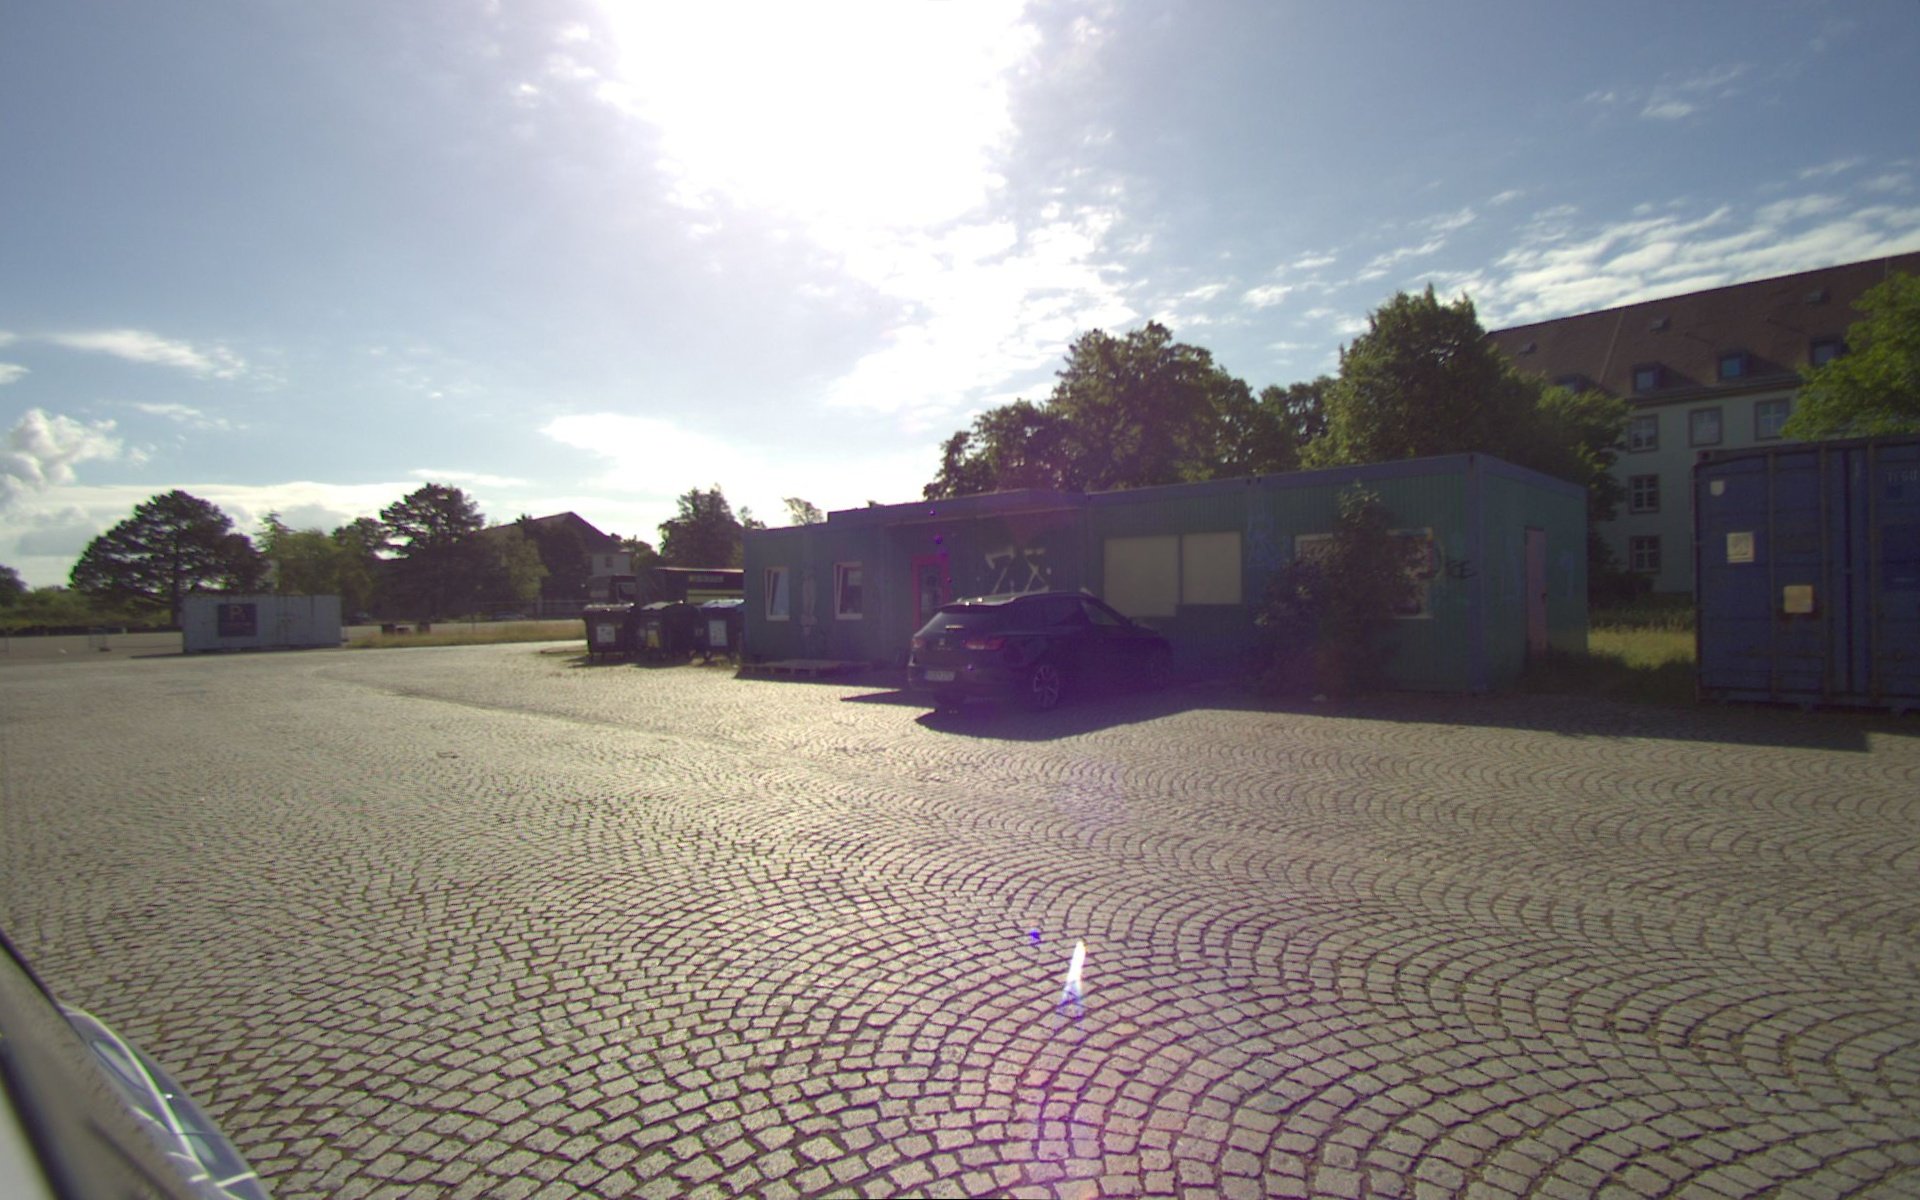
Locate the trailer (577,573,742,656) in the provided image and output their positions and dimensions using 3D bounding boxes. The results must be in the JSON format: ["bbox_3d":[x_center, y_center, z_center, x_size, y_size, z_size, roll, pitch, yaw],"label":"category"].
[{"bbox_3d":[-9.209,0.394,31.268,4.402,2.290,2.015,-3,1,-45],"label":"trailer"}]

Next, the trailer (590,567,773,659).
[{"bbox_3d":[-7.927,0.306,29.195,1.941,2.409,4.791,-2,1,40],"label":"trailer"}]

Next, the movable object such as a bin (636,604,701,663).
[{"bbox_3d":[-7.239,0.812,25.114,1.067,1.396,1.371,-1,0,-41],"label":"movable object such as a bin"}]

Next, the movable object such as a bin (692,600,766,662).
[{"bbox_3d":[-5.626,0.752,24.614,1.405,1.447,1.076,-1,0,34],"label":"movable object such as a bin"}]

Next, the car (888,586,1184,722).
[{"bbox_3d":[1.129,0.593,13.353,1.732,1.423,4.005,-1,1,43],"label":"car"}]

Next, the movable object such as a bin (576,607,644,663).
[{"bbox_3d":[-9.093,0.892,26.334,1.346,1.396,1.046,-1,0,3],"label":"movable object such as a bin"}]
